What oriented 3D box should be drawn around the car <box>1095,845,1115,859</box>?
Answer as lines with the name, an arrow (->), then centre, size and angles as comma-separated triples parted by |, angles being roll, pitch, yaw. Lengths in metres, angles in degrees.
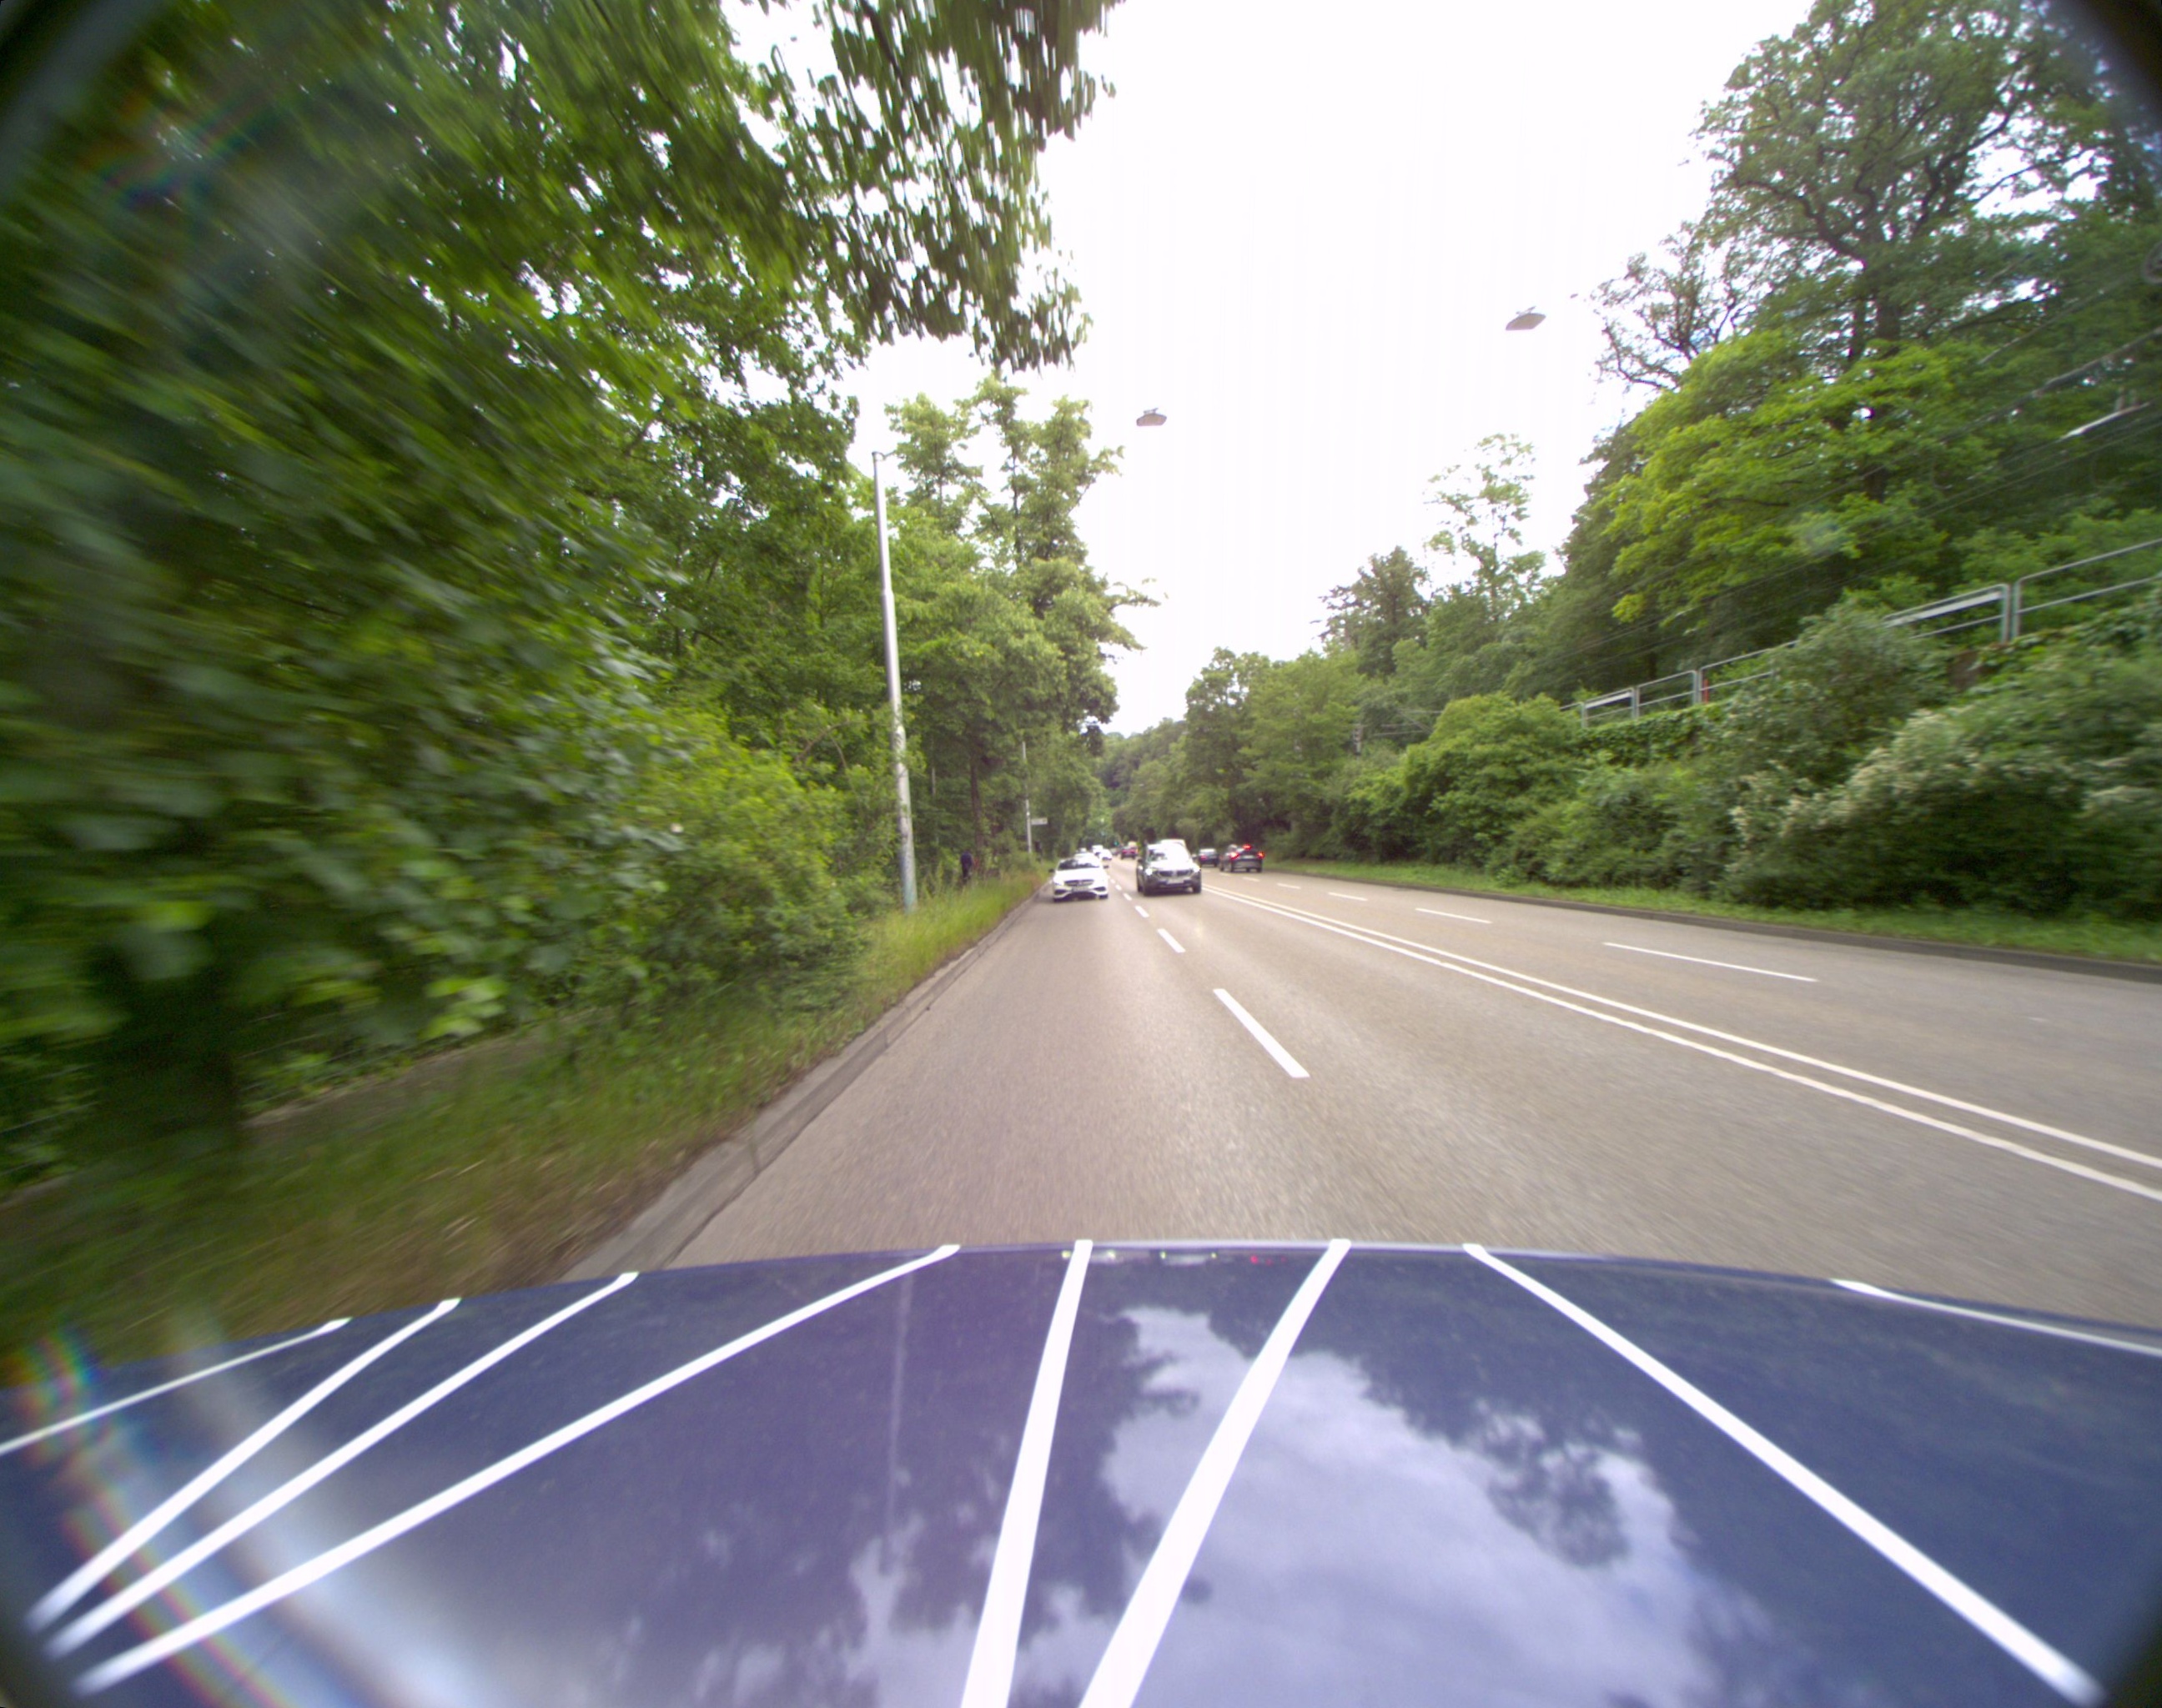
car -> 3.140, -0.252, 99.443 | 1.699, 1.733, 3.996 | -4, 1, -11

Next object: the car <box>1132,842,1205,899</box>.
car -> 2.847, 0.468, 25.514 | 1.871, 1.653, 4.191 | -4, 1, 0

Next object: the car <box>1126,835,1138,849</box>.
car -> 9.312, -2.253, 139.629 | 1.892, 2.541, 4.914 | -1, 1, 1

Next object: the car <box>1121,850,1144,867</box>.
car -> 4.865, 0.389, 71.930 | 1.918, 1.459, 4.529 | -1, 1, 1

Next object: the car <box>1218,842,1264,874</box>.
car -> 8.913, 0.163, 42.600 | 1.740, 1.588, 4.067 | -1, 3, 0

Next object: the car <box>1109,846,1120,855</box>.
car -> 6.702, -0.651, 151.648 | 1.844, 1.457, 4.465 | -8, 1, 0

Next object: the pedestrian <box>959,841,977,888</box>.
pedestrian -> -4.355, 0.394, 29.373 | 0.520, 1.743, 0.524 | -4, 2, -3

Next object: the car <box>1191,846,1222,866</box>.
car -> 9.107, 0.108, 55.221 | 1.646, 1.305, 3.999 | -1, 1, 1

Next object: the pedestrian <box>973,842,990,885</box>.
pedestrian -> -3.913, 0.365, 29.930 | 0.610, 1.688, 0.548 | 1, 1, -3

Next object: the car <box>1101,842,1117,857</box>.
car -> 3.816, -0.565, 102.196 | 1.814, 1.652, 4.833 | 4, -1, 4

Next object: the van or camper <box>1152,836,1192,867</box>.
van or camper -> 6.181, -0.205, 52.240 | 1.999, 2.002, 5.367 | 0, 1, -1

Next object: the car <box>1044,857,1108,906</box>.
car -> -0.151, 0.851, 25.533 | 1.897, 1.289, 4.327 | -4, 1, 0
